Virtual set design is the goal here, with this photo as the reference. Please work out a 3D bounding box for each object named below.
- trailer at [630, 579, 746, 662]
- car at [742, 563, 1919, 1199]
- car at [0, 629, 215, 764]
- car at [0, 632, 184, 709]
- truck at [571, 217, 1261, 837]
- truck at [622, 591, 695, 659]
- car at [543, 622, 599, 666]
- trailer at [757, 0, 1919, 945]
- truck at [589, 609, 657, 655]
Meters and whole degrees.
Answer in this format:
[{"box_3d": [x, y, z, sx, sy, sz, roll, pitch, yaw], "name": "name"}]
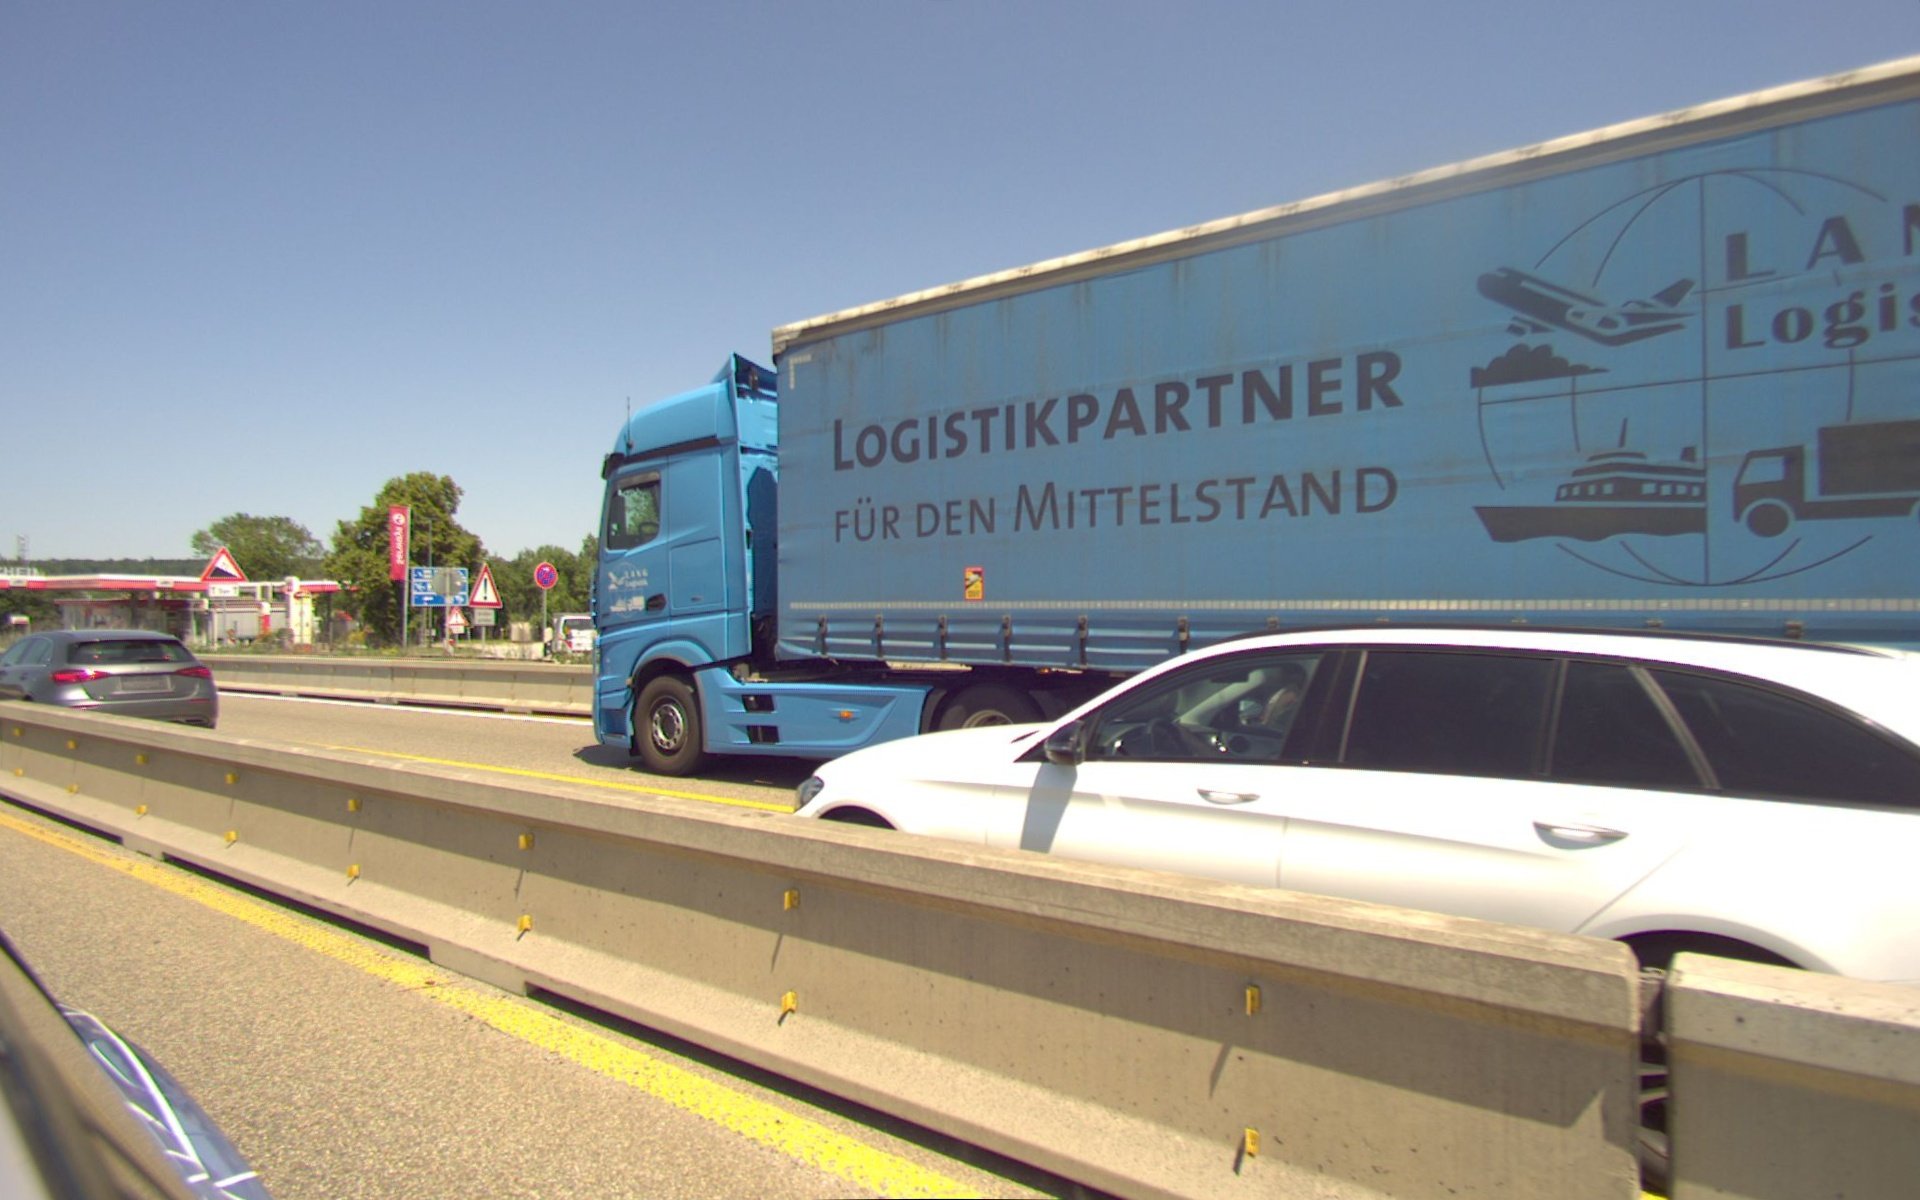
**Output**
[{"box_3d": [-15.896, 1.274, 57.934, 3.106, 4.143, 14.207, 1, -2, -29], "name": "trailer"}, {"box_3d": [1.521, 0.685, 3.821, 4.578, 1.455, 1.999, -2, 2, 36], "name": "car"}, {"box_3d": [-11.174, 1.121, 12.780, 4.114, 1.452, 1.576, -2, -3, 34], "name": "car"}, {"box_3d": [-18.877, 1.441, 21.907, 4.569, 1.409, 1.977, 0, -1, 34], "name": "car"}, {"box_3d": [-0.625, -0.415, 9.721, 6.123, 4.160, 2.889, -2, -2, 35], "name": "truck"}, {"box_3d": [-18.993, 1.572, 63.483, 3.106, 4.015, 6.366, 1, -2, -29], "name": "truck"}, {"box_3d": [-18.944, 2.142, 49.141, 1.890, 1.956, 5.109, 0, -3, -28], "name": "car"}, {"box_3d": [4.631, -0.555, 5.857, 13.890, 4.160, 2.887, -2, -2, 37], "name": "trailer"}, {"box_3d": [-24.012, 2.251, 71.833, 2.781, 3.087, 7.140, 1, -2, -34], "name": "truck"}]
